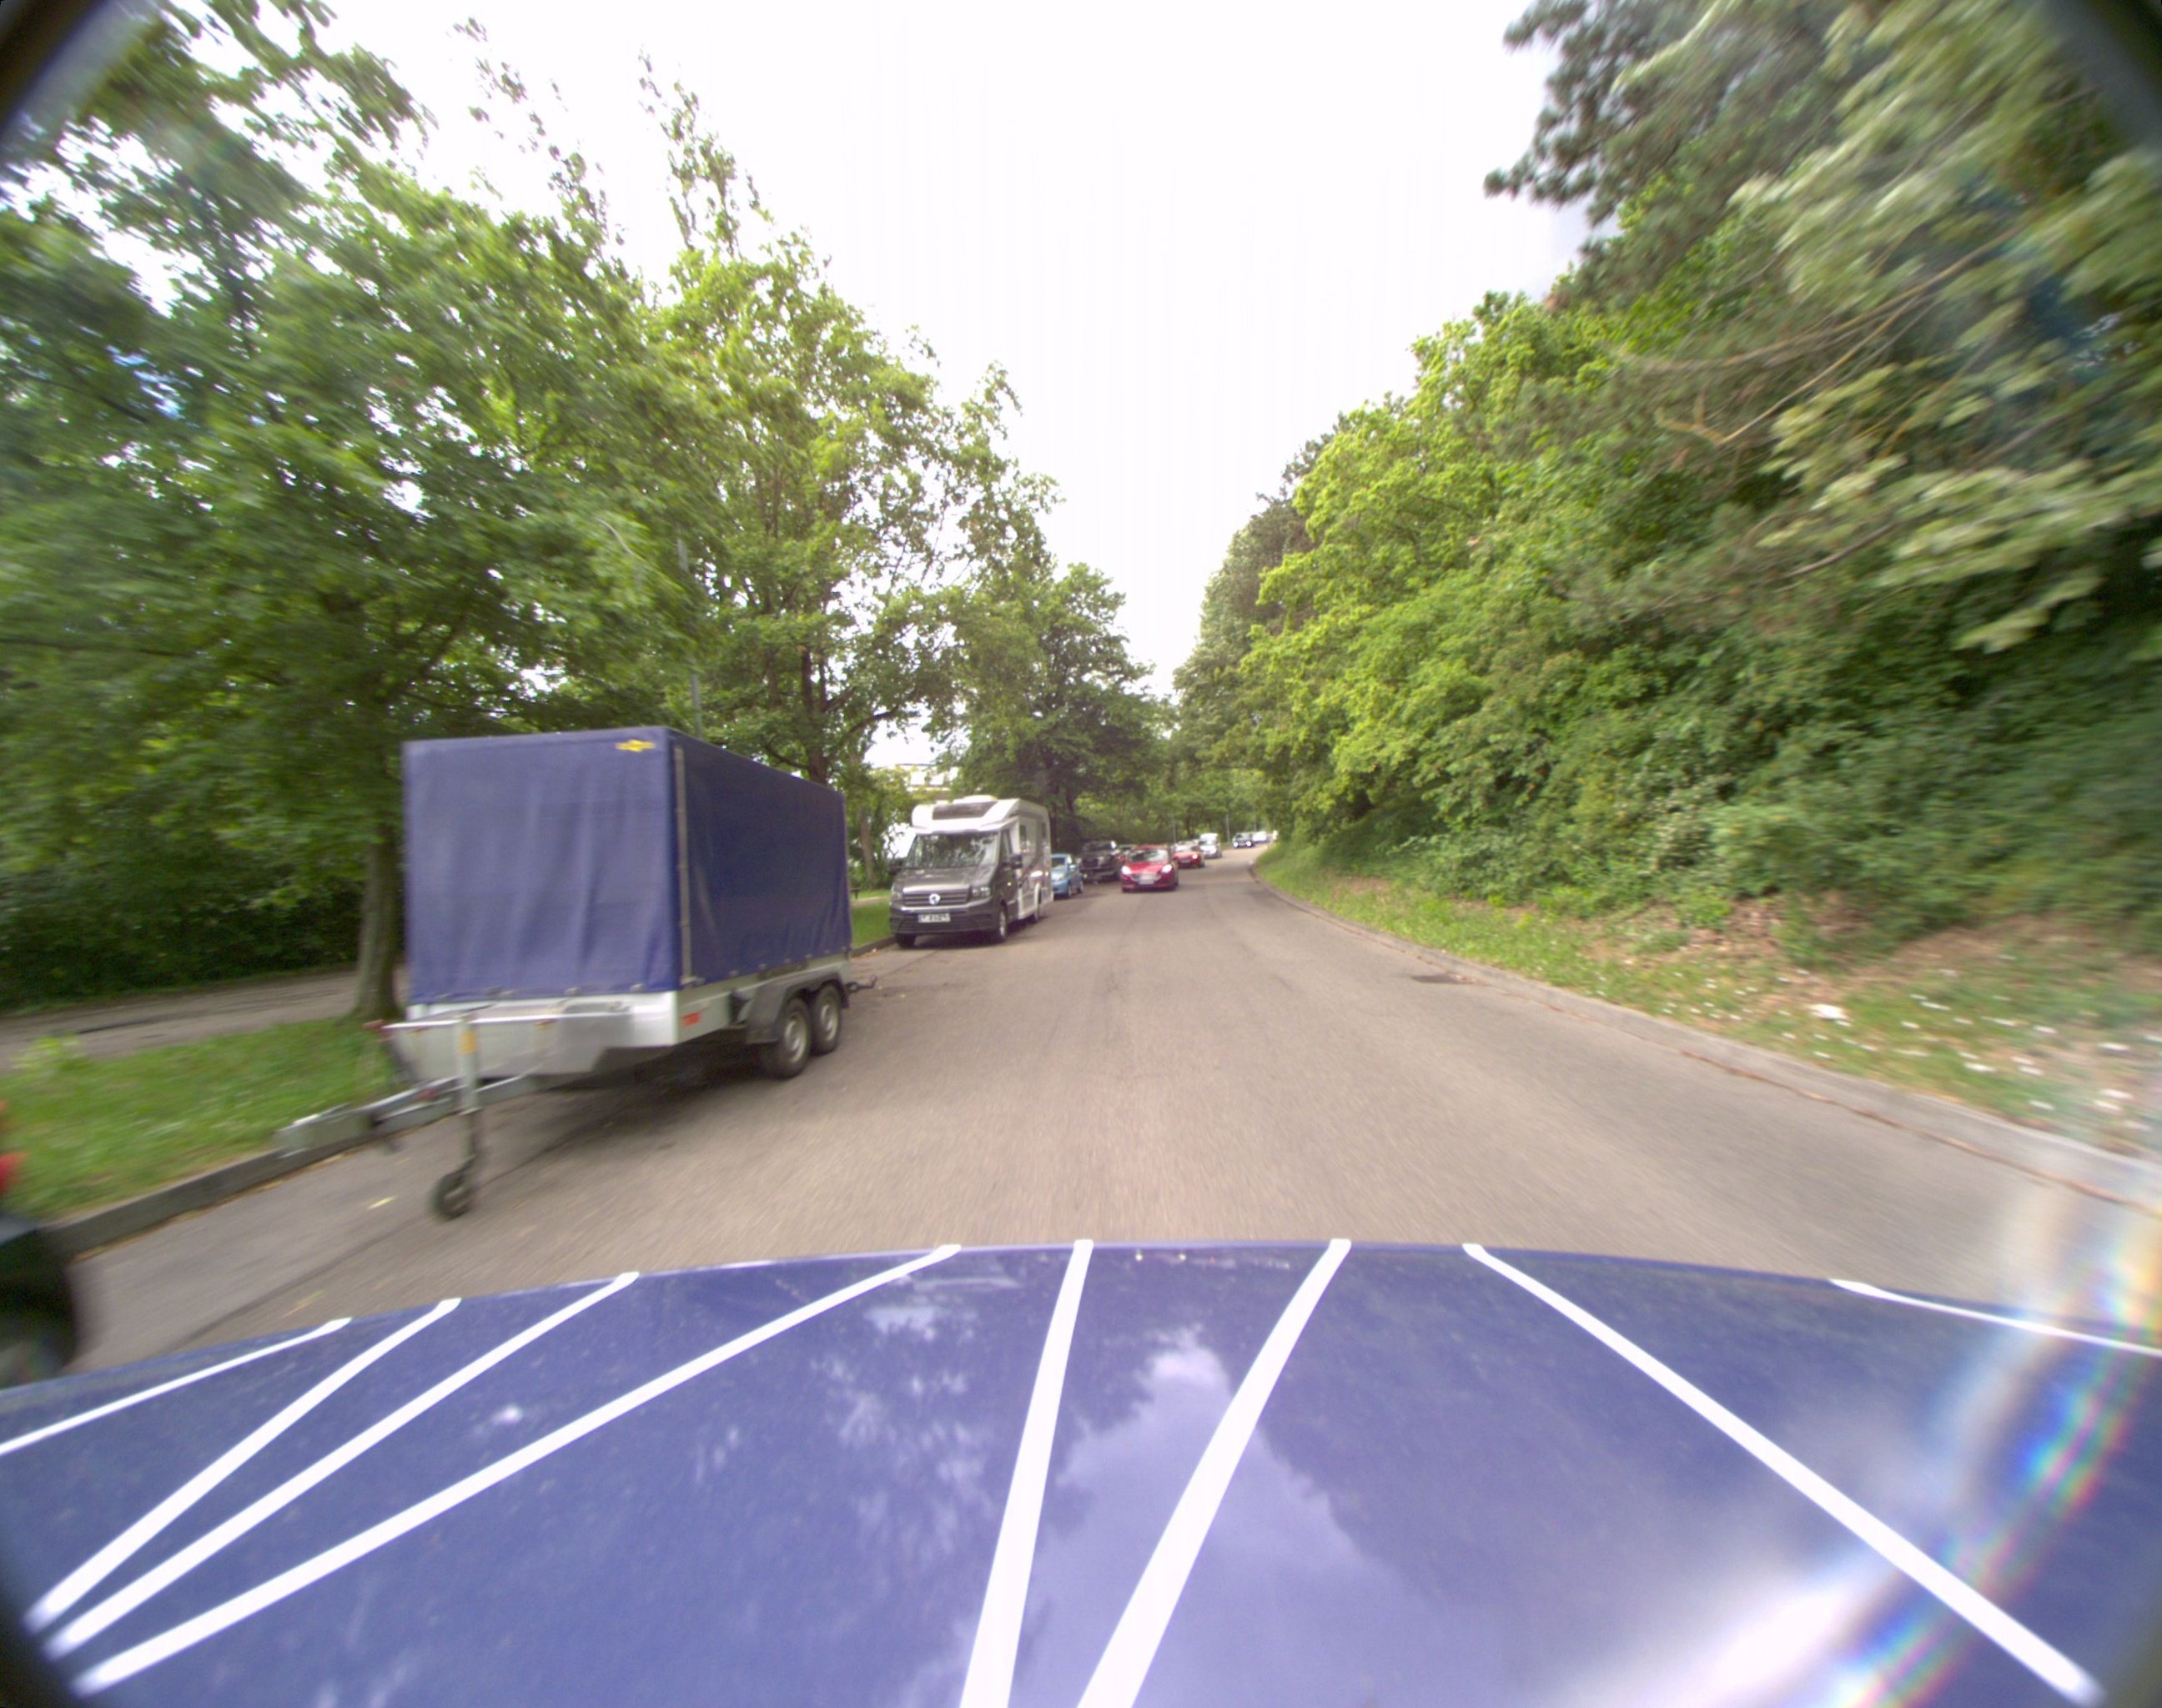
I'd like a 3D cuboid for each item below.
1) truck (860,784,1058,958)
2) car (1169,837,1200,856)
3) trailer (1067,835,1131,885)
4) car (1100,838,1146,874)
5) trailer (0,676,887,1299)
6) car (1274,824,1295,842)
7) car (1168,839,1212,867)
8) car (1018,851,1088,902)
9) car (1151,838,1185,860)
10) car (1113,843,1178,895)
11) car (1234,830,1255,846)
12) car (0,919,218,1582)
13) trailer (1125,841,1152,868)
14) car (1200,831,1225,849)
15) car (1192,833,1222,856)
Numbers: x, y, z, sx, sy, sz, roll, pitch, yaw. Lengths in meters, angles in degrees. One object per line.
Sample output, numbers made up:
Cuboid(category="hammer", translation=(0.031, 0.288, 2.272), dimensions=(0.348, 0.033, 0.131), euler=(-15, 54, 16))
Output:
Cuboid(category="truck", translation=(-2.226, 0.263, 16.584), dimensions=(2.308, 2.916, 7.036), euler=(-2, 1, 7))
Cuboid(category="car", translation=(8.922, -0.693, 65.116), dimensions=(1.864, 1.440, 4.180), euler=(-3, 1, 18))
Cuboid(category="trailer", translation=(0.966, 0.210, 36.146), dimensions=(1.997, 1.922, 5.895), euler=(-3, 2, 11))
Cuboid(category="car", translation=(2.395, 0.054, 41.867), dimensions=(1.844, 1.675, 4.602), euler=(-4, 1, 11))
Cuboid(category="trailer", translation=(-3.098, 0.575, 5.269), dimensions=(2.111, 2.347, 4.703), euler=(-1, -1, 2))
Cuboid(category="car", translation=(25.296, -2.584, 94.279), dimensions=(2.147, 2.003, 4.004), euler=(-3, 3, 20))
Cuboid(category="car", translation=(6.604, -0.084, 45.714), dimensions=(1.864, 1.440, 4.180), euler=(-3, 1, 18))
Cuboid(category="car", translation=(-0.922, 0.740, 26.996), dimensions=(1.698, 1.538, 3.770), euler=(-3, 1, 9))
Cuboid(category="car", translation=(6.757, -0.404, 58.885), dimensions=(1.865, 1.558, 4.180), euler=(-3, 1, 16))
Cuboid(category="car", translation=(2.454, 0.481, 27.968), dimensions=(1.997, 1.619, 4.628), euler=(-4, 1, 9))
Cuboid(category="car", translation=(17.499, -1.765, 81.267), dimensions=(1.766, 1.509, 4.004), euler=(-4, 1, 18))
Cuboid(category="car", translation=(-3.432, 1.028, 0.500), dimensions=(1.734, 1.514, 3.404), euler=(-4, 1, -1))
Cuboid(category="trailer", translation=(3.675, -0.009, 48.696), dimensions=(1.376, 1.595, 2.268), euler=(-4, 1, 11))
Cuboid(category="car", translation=(13.526, -1.466, 77.938), dimensions=(1.864, 1.716, 4.180), euler=(-3, 1, 18))
Cuboid(category="car", translation=(9.877, -0.782, 59.439), dimensions=(1.920, 1.672, 4.003), euler=(-1, 2, 15))
